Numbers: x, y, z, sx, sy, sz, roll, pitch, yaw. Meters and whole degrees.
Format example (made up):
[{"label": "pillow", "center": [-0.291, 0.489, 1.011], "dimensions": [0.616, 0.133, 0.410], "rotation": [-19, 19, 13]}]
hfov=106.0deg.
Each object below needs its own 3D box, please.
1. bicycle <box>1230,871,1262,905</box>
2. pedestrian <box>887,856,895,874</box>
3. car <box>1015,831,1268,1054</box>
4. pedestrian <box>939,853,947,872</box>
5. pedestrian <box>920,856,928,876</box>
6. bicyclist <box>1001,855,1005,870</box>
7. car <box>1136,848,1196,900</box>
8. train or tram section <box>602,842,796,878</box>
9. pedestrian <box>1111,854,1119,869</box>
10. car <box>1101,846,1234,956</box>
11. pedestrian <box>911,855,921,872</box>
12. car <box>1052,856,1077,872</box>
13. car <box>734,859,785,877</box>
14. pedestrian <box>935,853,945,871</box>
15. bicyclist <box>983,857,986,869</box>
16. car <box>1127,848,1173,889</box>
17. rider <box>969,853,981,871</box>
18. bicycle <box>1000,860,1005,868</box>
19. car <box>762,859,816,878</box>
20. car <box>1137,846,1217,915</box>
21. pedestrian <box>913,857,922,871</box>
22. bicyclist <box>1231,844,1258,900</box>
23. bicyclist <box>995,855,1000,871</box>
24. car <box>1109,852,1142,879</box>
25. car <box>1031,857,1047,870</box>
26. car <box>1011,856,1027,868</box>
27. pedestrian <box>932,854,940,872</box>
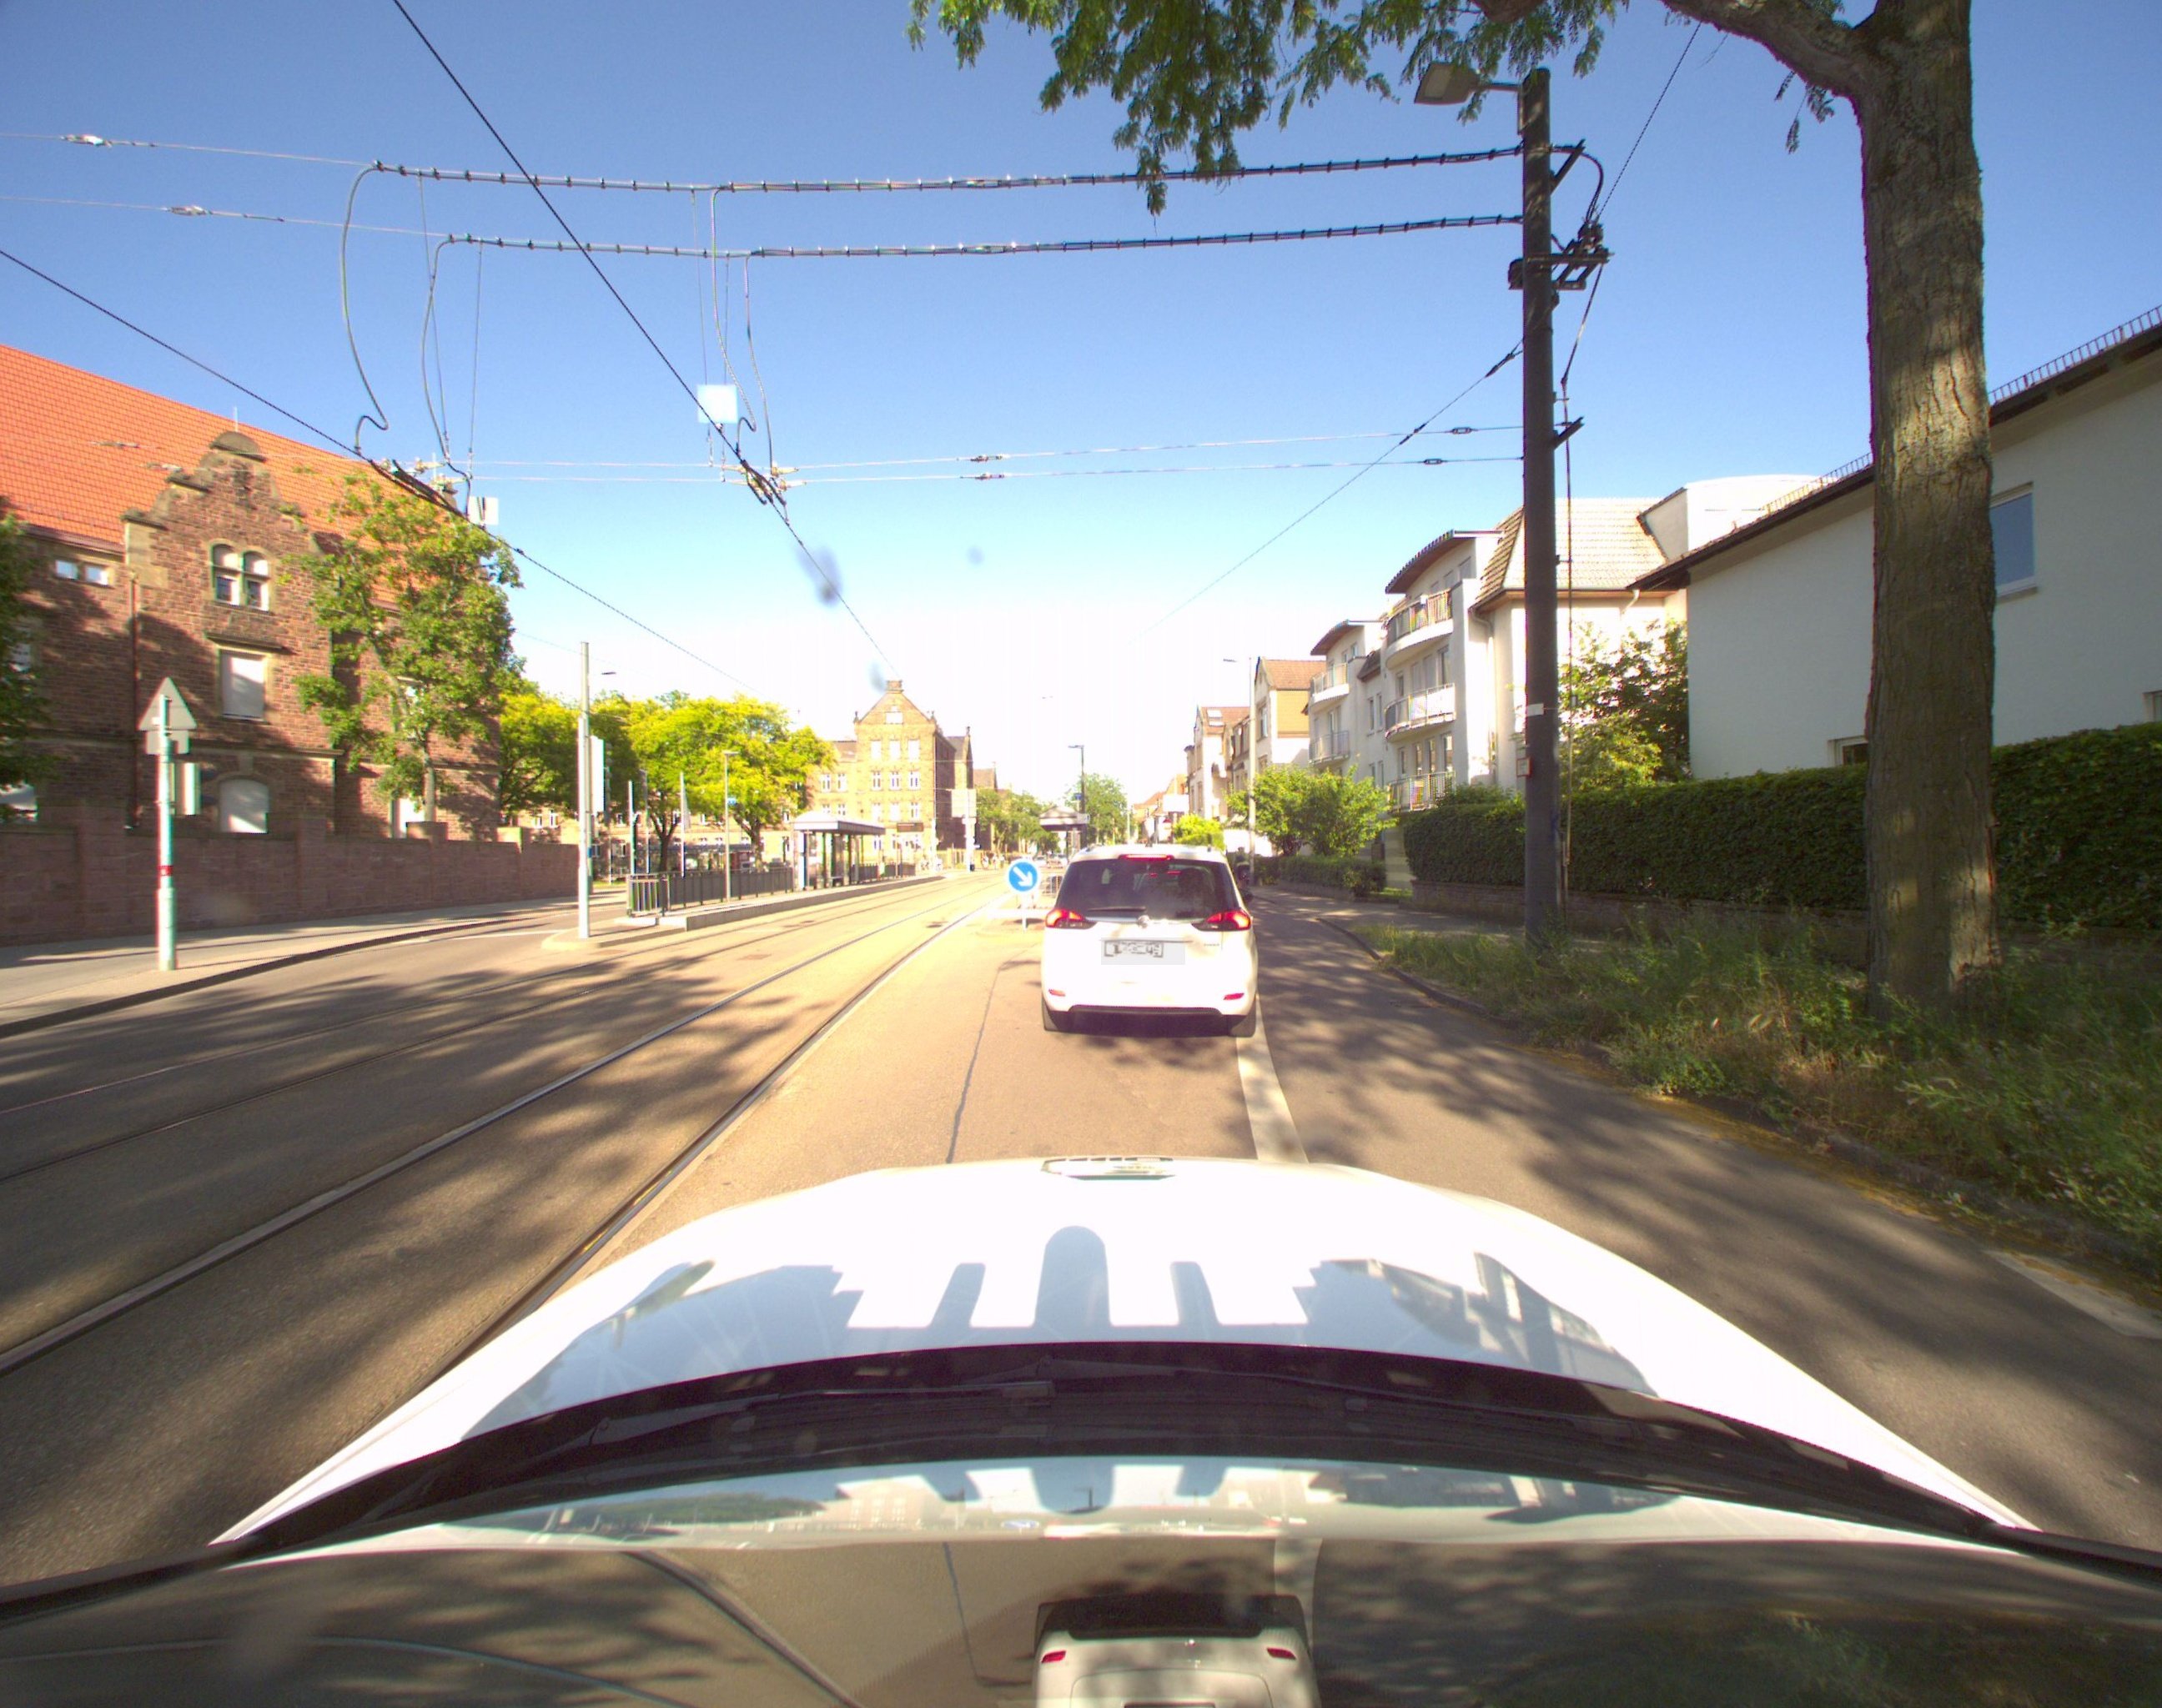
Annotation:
[{"label": "bicycle", "center": [4.923, 0.997, 24.429], "dimensions": [0.673, 0.925, 1.887], "rotation": [-1, 0, 3]}, {"label": "pedestrian", "center": [-19.113, 1.120, 81.842], "dimensions": [0.768, 1.774, 0.717], "rotation": [0, -1, -15]}, {"label": "car", "center": [0.755, 0.668, 8.183], "dimensions": [1.896, 1.661, 4.010], "rotation": [-1, 0, 9]}, {"label": "pedestrian", "center": [-14.522, 0.865, 85.522], "dimensions": [0.796, 2.014, 0.717], "rotation": [0, -1, -15]}, {"label": "pedestrian", "center": [-15.951, 1.236, 82.864], "dimensions": [0.795, 2.014, 1.042], "rotation": [0, -1, -12]}, {"label": "bicyclist", "center": [-10.330, 1.116, 107.502], "dimensions": [0.486, 2.014, 0.502], "rotation": [0, -1, 1]}, {"label": "car", "center": [2.992, 0.652, 28.348], "dimensions": [1.897, 1.661, 4.007], "rotation": [-1, 0, 6]}, {"label": "train or tram section", "center": [-37.815, 0.581, 81.159], "dimensions": [17.346, 3.154, 3.344], "rotation": [-1, -1, -3]}, {"label": "pedestrian", "center": [4.323, 0.951, 102.834], "dimensions": [0.802, 1.901, 0.746], "rotation": [-1, -1, 14]}, {"label": "car", "center": [1.571, 0.690, 13.871], "dimensions": [1.896, 1.597, 4.010], "rotation": [-1, 0, 9]}, {"label": "pedestrian", "center": [-18.188, 1.030, 89.600], "dimensions": [0.802, 1.901, 0.747], "rotation": [-1, -1, 16]}, {"label": "car", "center": [-1.838, 1.091, 90.833], "dimensions": [1.751, 1.716, 3.976], "rotation": [0, -1, -17]}, {"label": "car", "center": [-29.625, 1.318, 75.225], "dimensions": [3.976, 1.630, 1.817], "rotation": [0, -1, -2]}, {"label": "pedestrian", "center": [-16.164, 0.940, 93.268], "dimensions": [0.711, 2.014, 0.802], "rotation": [-1, -1, 37]}, {"label": "bicyclist", "center": [-11.328, 1.093, 95.979], "dimensions": [0.312, 1.444, 0.384], "rotation": [0, -1, 1]}, {"label": "car", "center": [3.014, 0.616, 36.192], "dimensions": [1.899, 1.661, 4.003], "rotation": [-1, 0, 3]}, {"label": "rider", "center": [-10.411, 0.794, 80.069], "dimensions": [0.793, 1.782, 2.488], "rotation": [0, -1, 1]}, {"label": "bicycle", "center": [-10.334, 1.341, 107.468], "dimensions": [0.485, 0.971, 1.406], "rotation": [0, -1, 2]}, {"label": "car", "center": [-25.419, 1.241, 70.981], "dimensions": [3.976, 1.630, 1.817], "rotation": [0, -1, -2]}, {"label": "car", "center": [2.634, 0.639, 21.692], "dimensions": [1.896, 1.624, 4.010], "rotation": [-1, 0, 9]}, {"label": "pedestrian", "center": [-18.320, 1.091, 91.084], "dimensions": [0.647, 1.612, 0.715], "rotation": [-1, -1, 34]}, {"label": "bicyclist", "center": [4.900, 0.536, 24.417], "dimensions": [0.673, 1.658, 0.746], "rotation": [-1, 0, 3]}, {"label": "bicyclist", "center": [-10.494, 1.137, 102.259], "dimensions": [0.496, 2.014, 0.572], "rotation": [0, -1, 1]}, {"label": "car", "center": [2.864, 0.748, 53.185], "dimensions": [1.901, 1.661, 4.000], "rotation": [-1, 0, 0]}, {"label": "car", "center": [-5.423, 1.203, 106.294], "dimensions": [1.740, 1.716, 4.001], "rotation": [0, -1, 2]}, {"label": "car", "center": [-8.568, 1.091, 111.994], "dimensions": [1.740, 1.716, 4.001], "rotation": [0, -1, 2]}, {"label": "pedestrian", "center": [-16.881, 1.057, 94.688], "dimensions": [0.685, 2.014, 0.619], "rotation": [-1, -1, 11]}]
